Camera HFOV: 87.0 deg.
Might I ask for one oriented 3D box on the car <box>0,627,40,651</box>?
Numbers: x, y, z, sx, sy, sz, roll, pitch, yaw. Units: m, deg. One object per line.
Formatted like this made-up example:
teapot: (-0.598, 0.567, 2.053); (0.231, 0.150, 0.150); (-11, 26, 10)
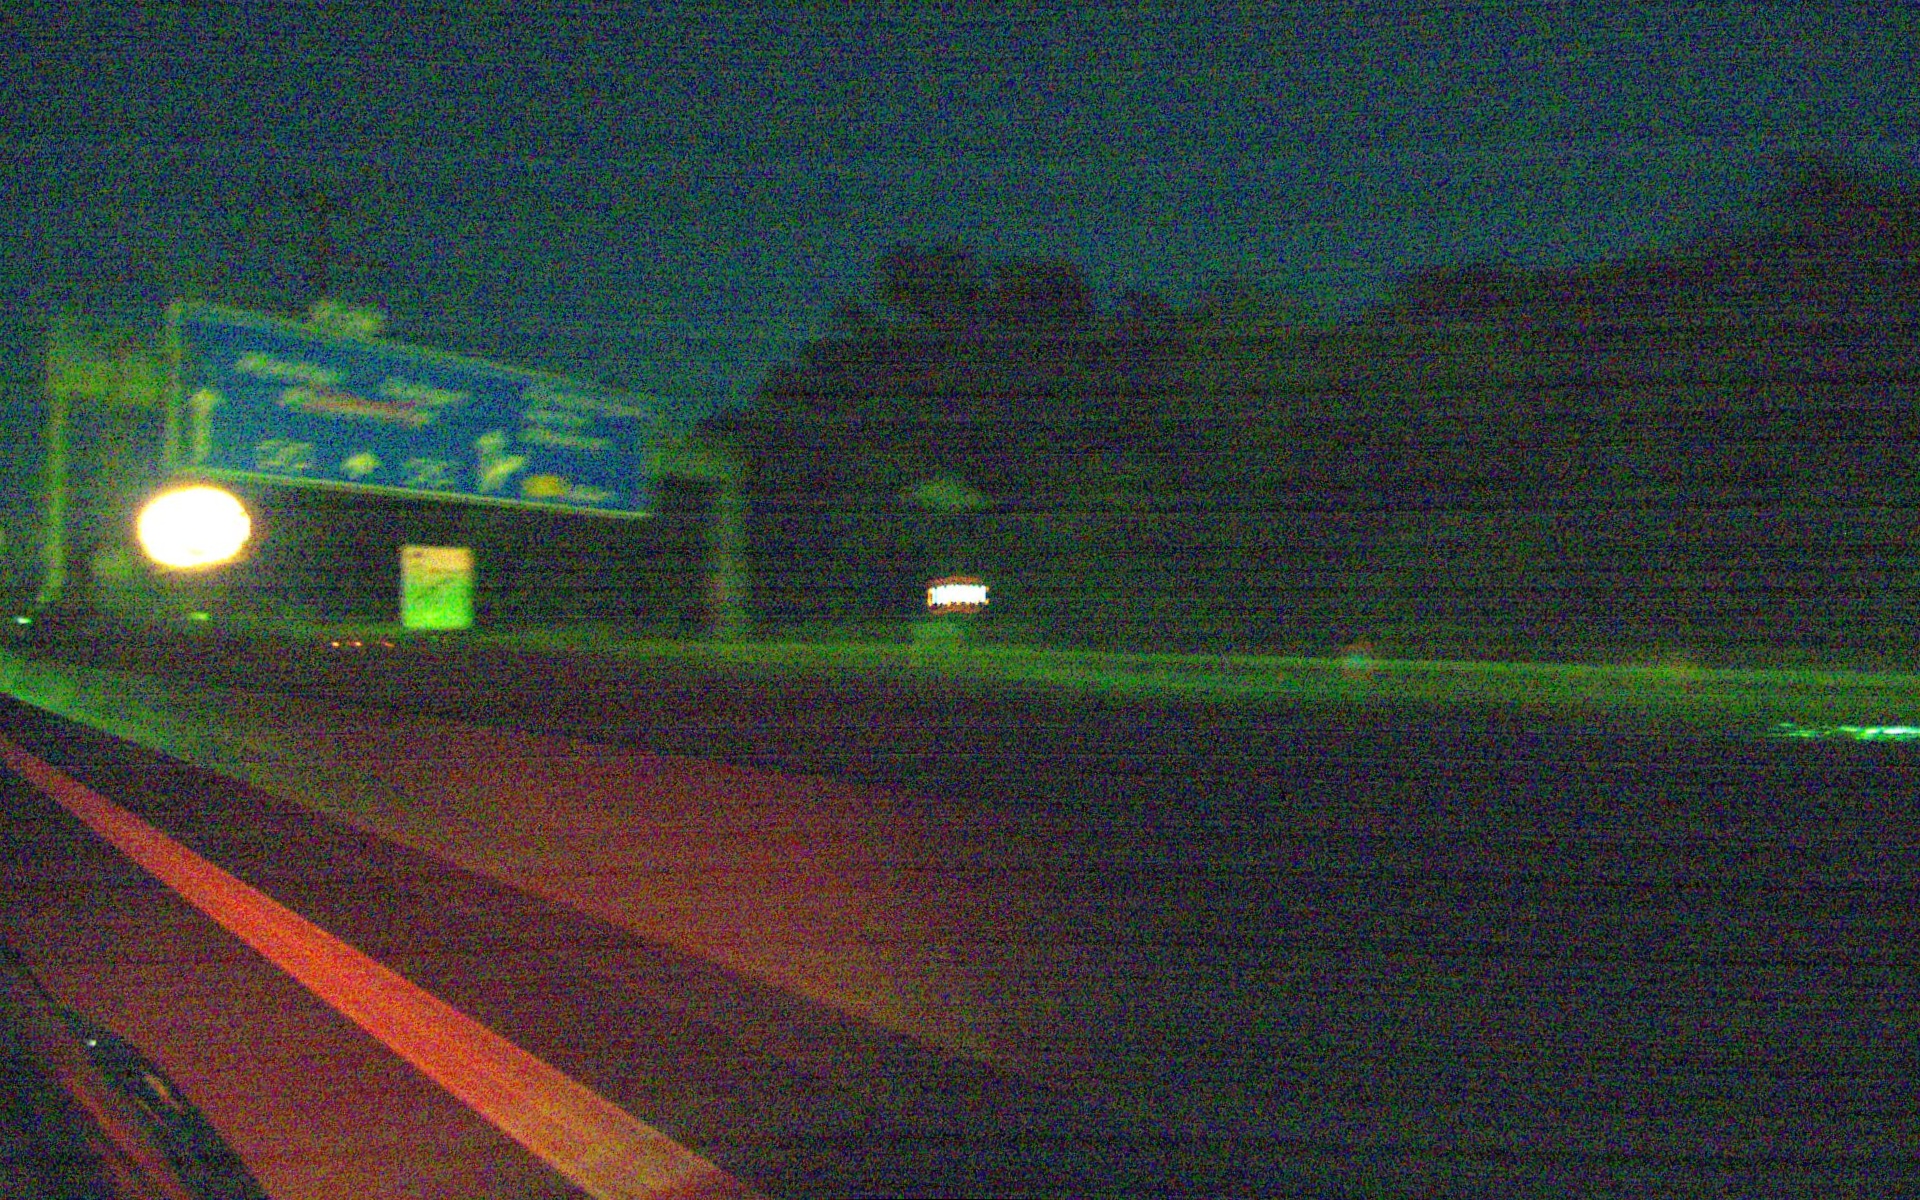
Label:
car: (-77.984, 3.249, 83.852); (5.452, 1.937, 1.888); (-3, -4, 40)
